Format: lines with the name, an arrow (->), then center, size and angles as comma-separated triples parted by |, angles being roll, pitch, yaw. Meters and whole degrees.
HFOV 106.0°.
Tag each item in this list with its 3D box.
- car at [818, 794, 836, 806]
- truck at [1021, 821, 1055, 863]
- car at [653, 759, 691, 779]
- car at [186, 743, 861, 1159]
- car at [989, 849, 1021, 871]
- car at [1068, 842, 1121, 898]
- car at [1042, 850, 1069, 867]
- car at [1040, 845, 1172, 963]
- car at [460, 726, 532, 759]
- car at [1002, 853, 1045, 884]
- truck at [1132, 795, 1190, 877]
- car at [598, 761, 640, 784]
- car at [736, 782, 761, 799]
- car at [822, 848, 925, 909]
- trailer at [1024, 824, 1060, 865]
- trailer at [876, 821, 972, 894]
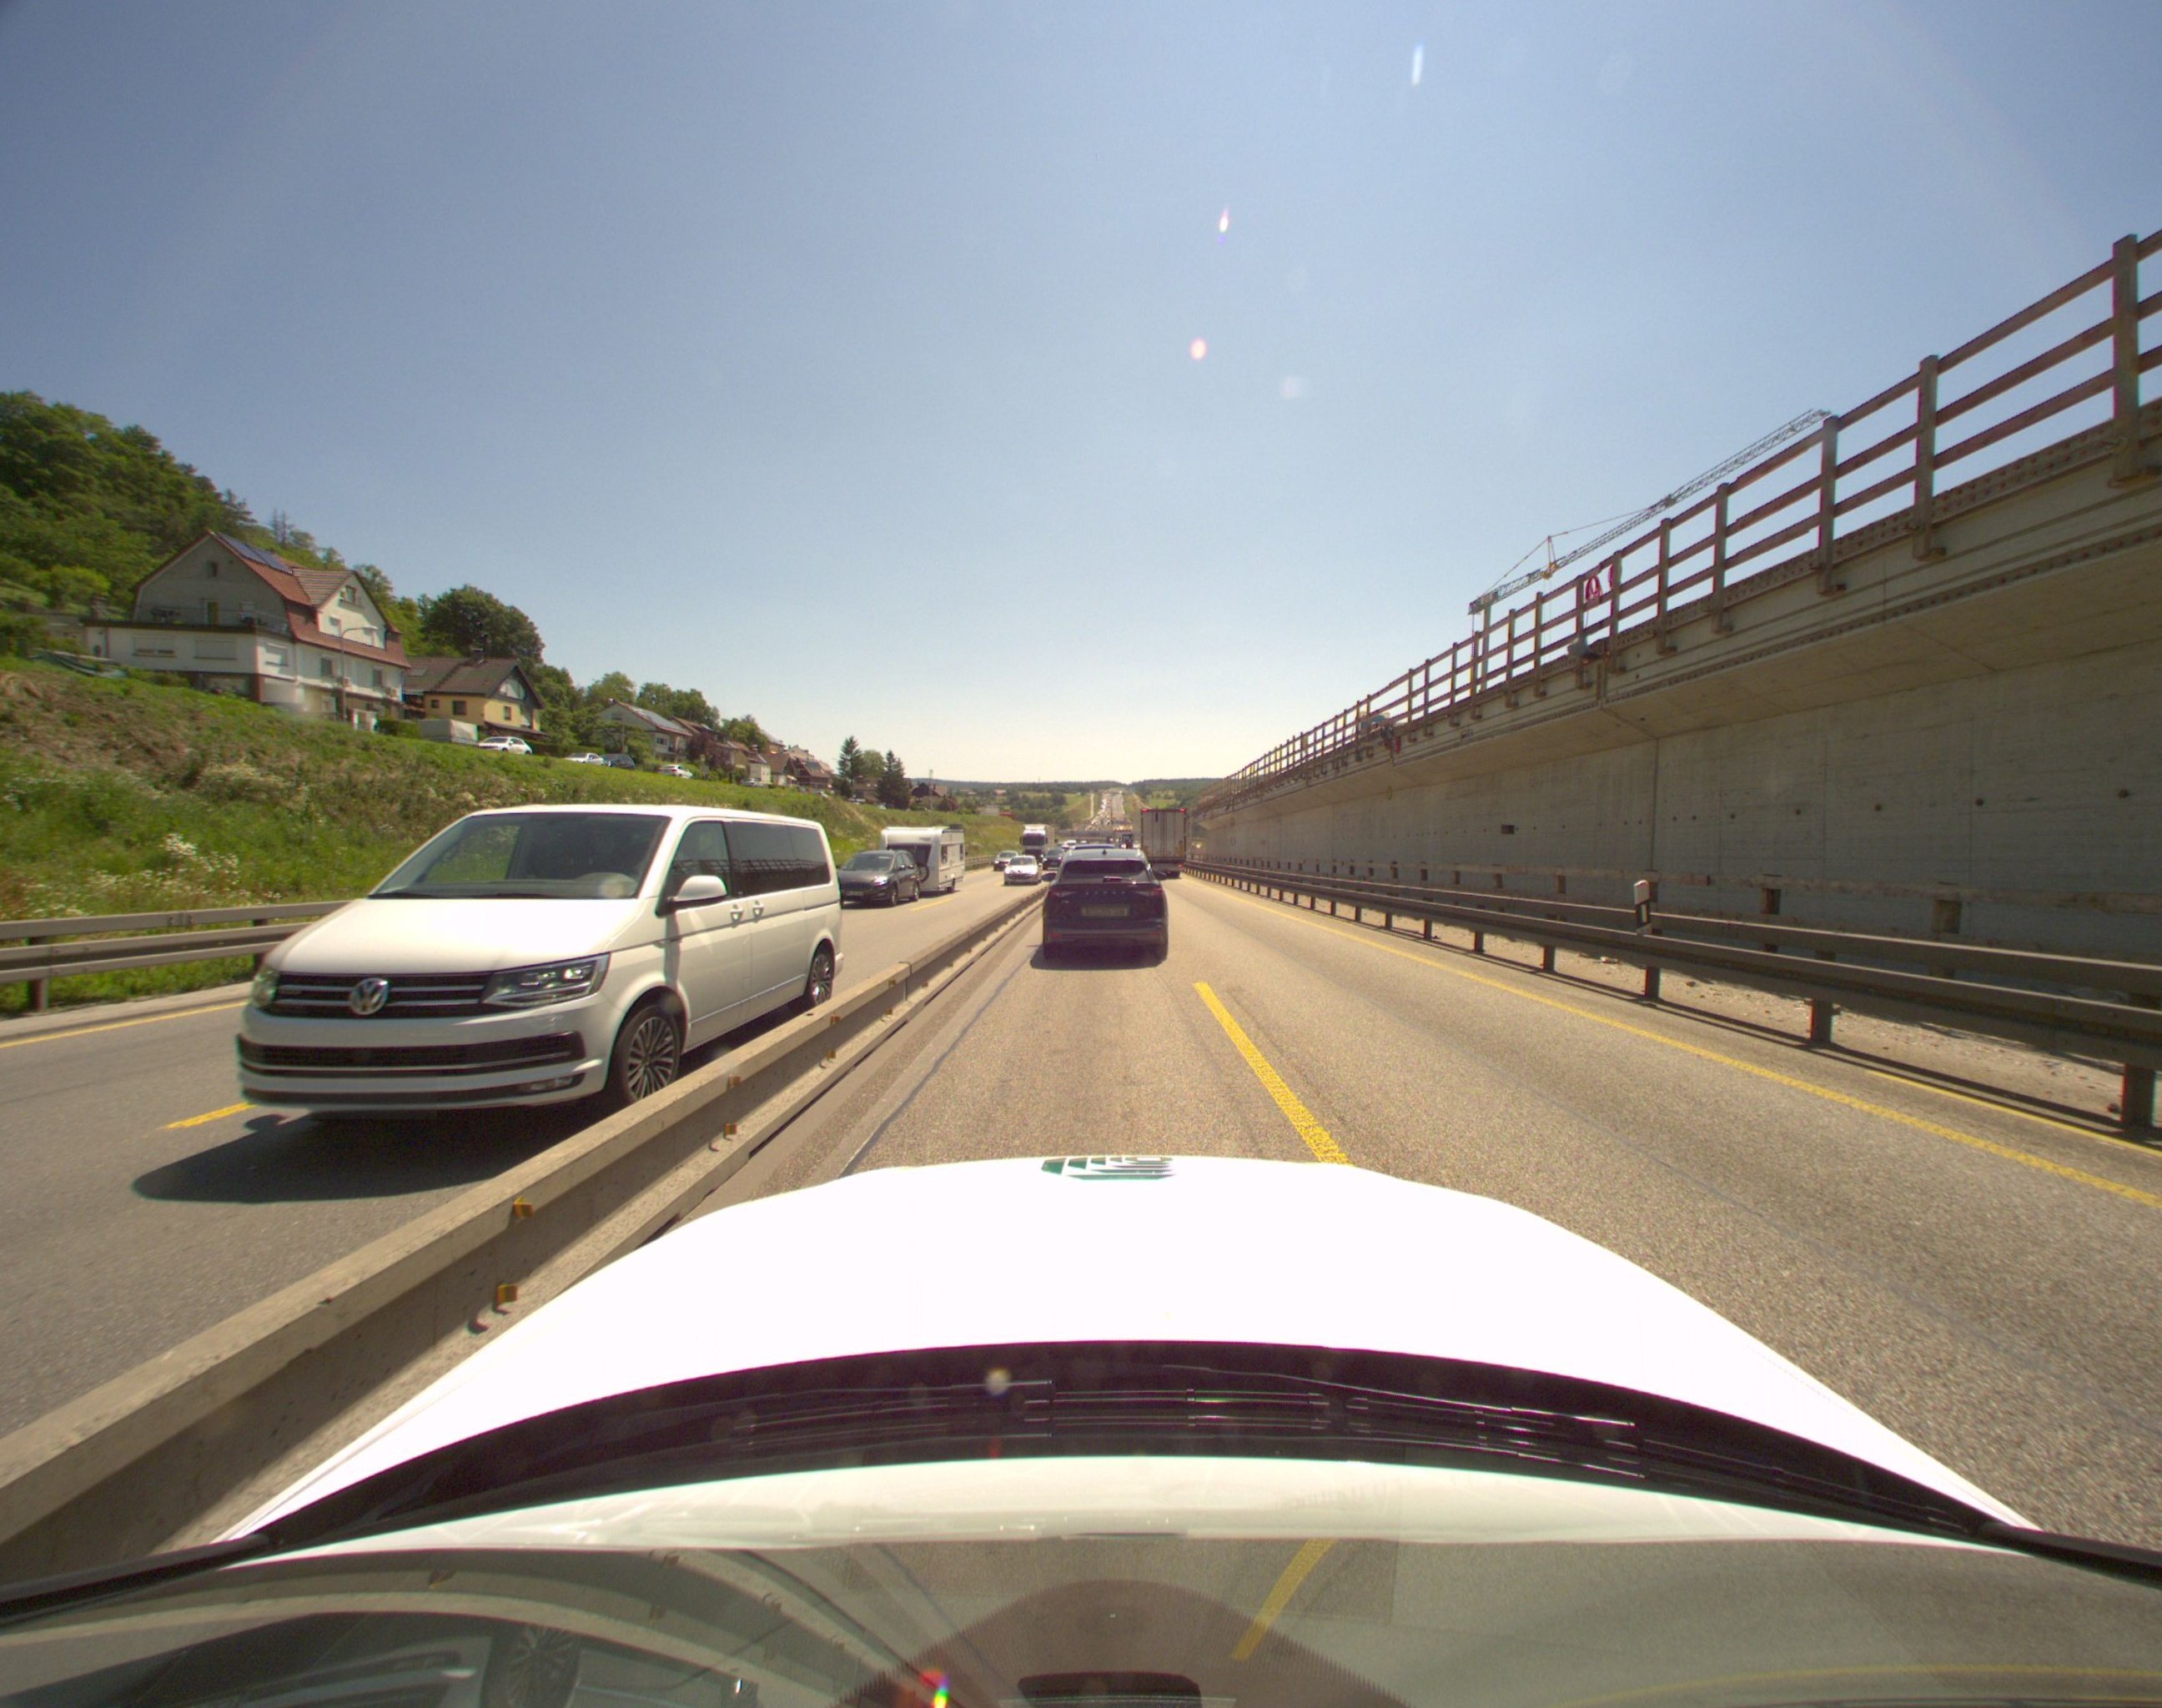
car -> -41.729, -8.910, 133.847 | 1.747, 1.728, 4.001 | 0, 0, 1
truck -> -4.644, -1.196, 88.960 | 2.742, 4.227, 8.103 | 3, -1, 2
car -> -38.950, -8.090, 77.630 | 1.993, 1.320, 3.987 | 4, -1, -10
car -> -3.355, 0.502, 6.362 | 1.856, 2.014, 4.806 | 0, -1, 1
car -> -5.707, 0.466, 61.317 | 1.865, 1.442, 4.000 | 3, -1, 1
car -> 0.436, 0.565, 30.170 | 1.744, 1.895, 3.753 | 2, 0, -1
car -> -1.943, 0.376, 62.509 | 1.765, 1.288, 4.002 | 1, -1, 2
car -> 0.347, 0.685, 12.871 | 1.777, 1.597, 3.754 | 0, 0, 0
car -> -36.321, -6.914, 50.717 | 1.993, 1.320, 3.987 | 4, -1, -10
car -> -2.803, 0.724, 40.556 | 1.696, 1.441, 4.002 | -1, -1, 2
truck -> 4.917, -0.955, 52.254 | 2.835, 4.615, 11.814 | 1, -1, 2
car -> -37.508, -6.625, 66.239 | 1.590, 1.419, 3.988 | 0, 0, -8
car -> -39.674, -7.588, 97.321 | 1.925, 1.728, 3.987 | 0, 0, -9
car -> -6.321, 0.686, 25.394 | 1.869, 1.712, 4.650 | 0, 0, 2
trailer -> -4.385, -0.903, 95.106 | 2.749, 4.273, 14.640 | 3, -1, 2
trailer -> -6.180, 0.173, 32.946 | 2.475, 2.613, 5.870 | -1, -1, 2
